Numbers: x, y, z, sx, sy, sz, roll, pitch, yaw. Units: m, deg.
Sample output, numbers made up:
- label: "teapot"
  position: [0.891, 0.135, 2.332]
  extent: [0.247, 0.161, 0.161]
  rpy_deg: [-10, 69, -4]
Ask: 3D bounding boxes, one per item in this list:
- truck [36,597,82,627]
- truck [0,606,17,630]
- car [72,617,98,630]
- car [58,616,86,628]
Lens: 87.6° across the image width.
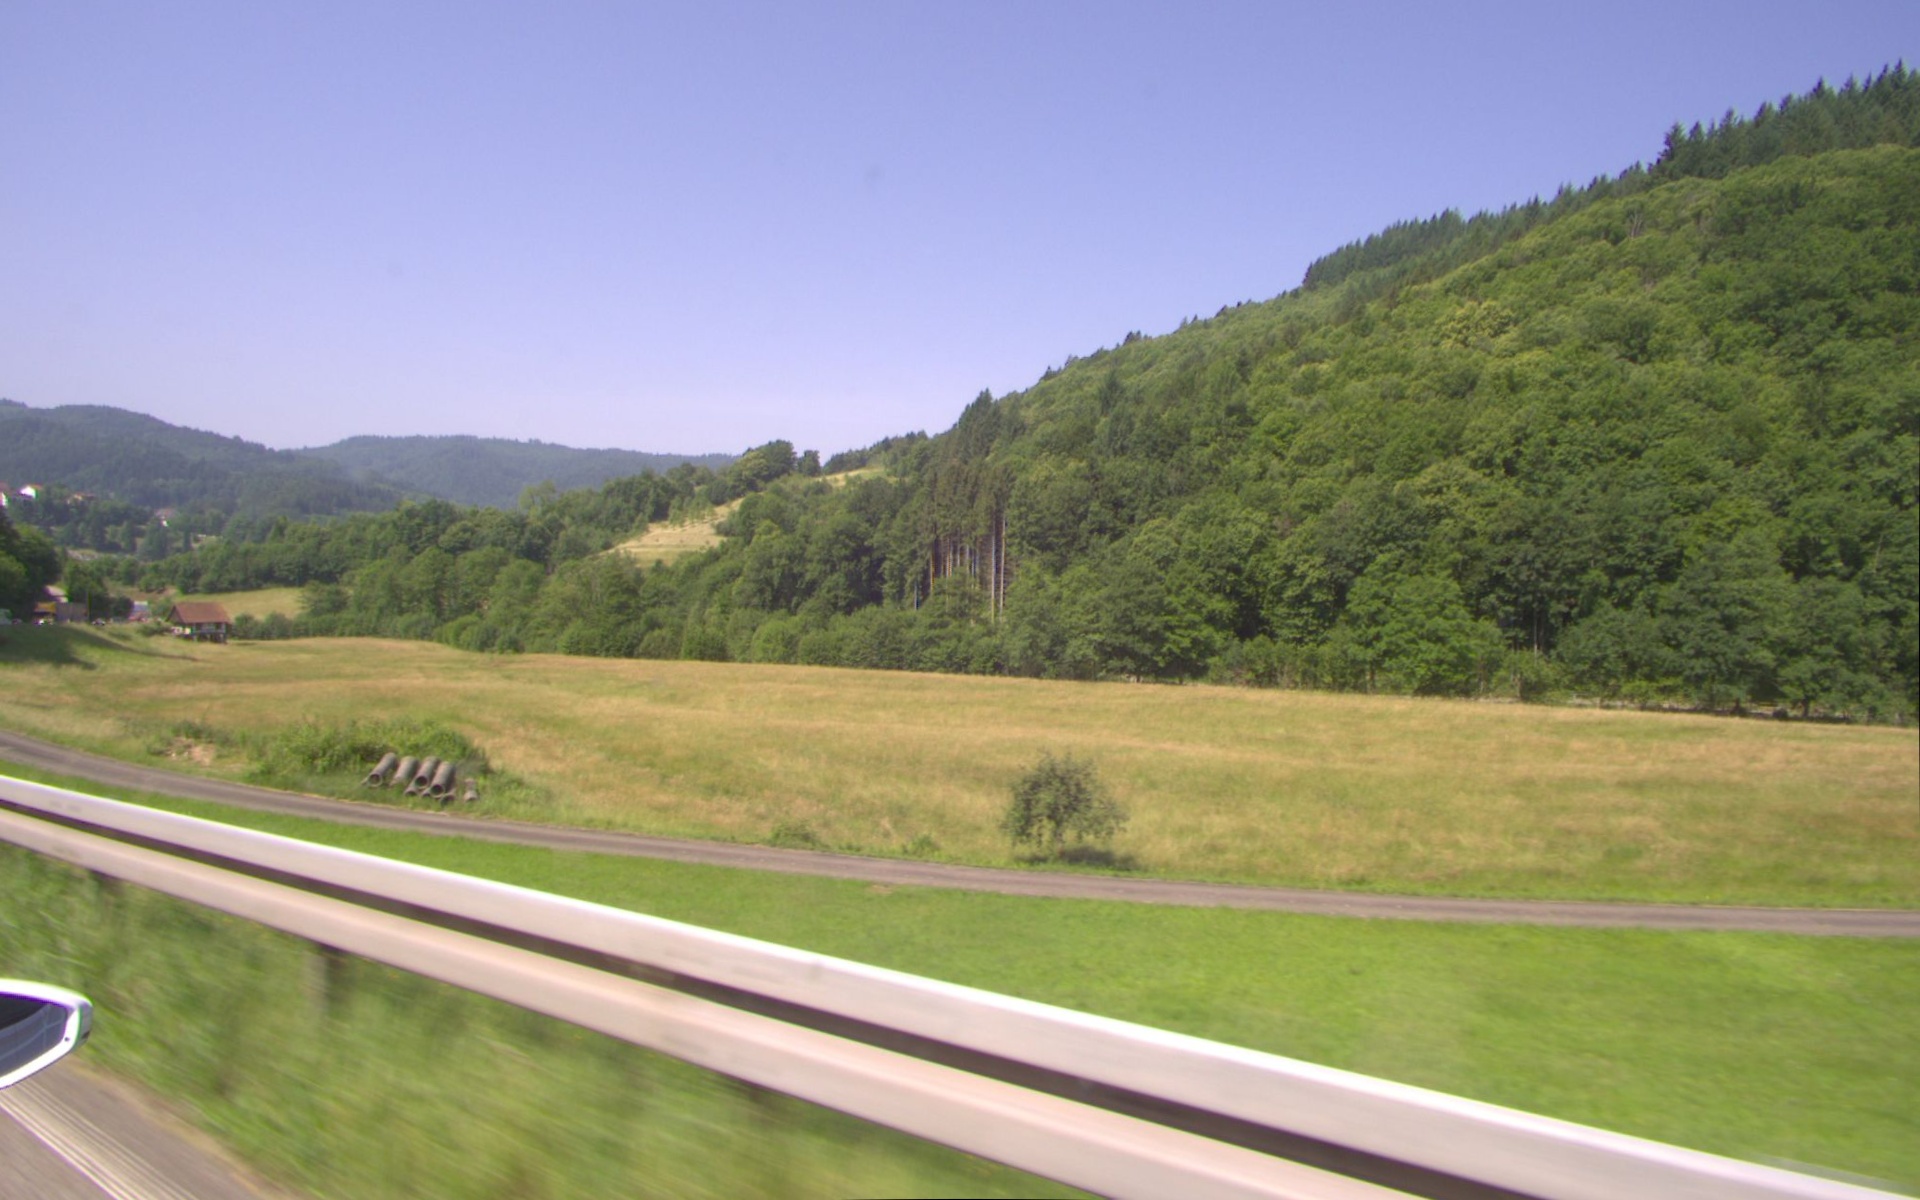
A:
- label: "truck"
  position: [-142.128, 1.938, 158.048]
  extent: [3.149, 4.451, 6.550]
  rpy_deg: [4, -3, -24]
- label: "truck"
  position: [-122.475, 2.267, 127.238]
  extent: [2.212, 2.838, 6.206]
  rpy_deg: [3, -3, -28]
- label: "car"
  position: [-136.893, 3.713, 156.695]
  extent: [1.969, 1.950, 3.986]
  rpy_deg: [4, -2, -24]
- label: "car"
  position: [-131.766, 3.260, 148.627]
  extent: [1.884, 1.503, 3.986]
  rpy_deg: [6, -4, -25]
